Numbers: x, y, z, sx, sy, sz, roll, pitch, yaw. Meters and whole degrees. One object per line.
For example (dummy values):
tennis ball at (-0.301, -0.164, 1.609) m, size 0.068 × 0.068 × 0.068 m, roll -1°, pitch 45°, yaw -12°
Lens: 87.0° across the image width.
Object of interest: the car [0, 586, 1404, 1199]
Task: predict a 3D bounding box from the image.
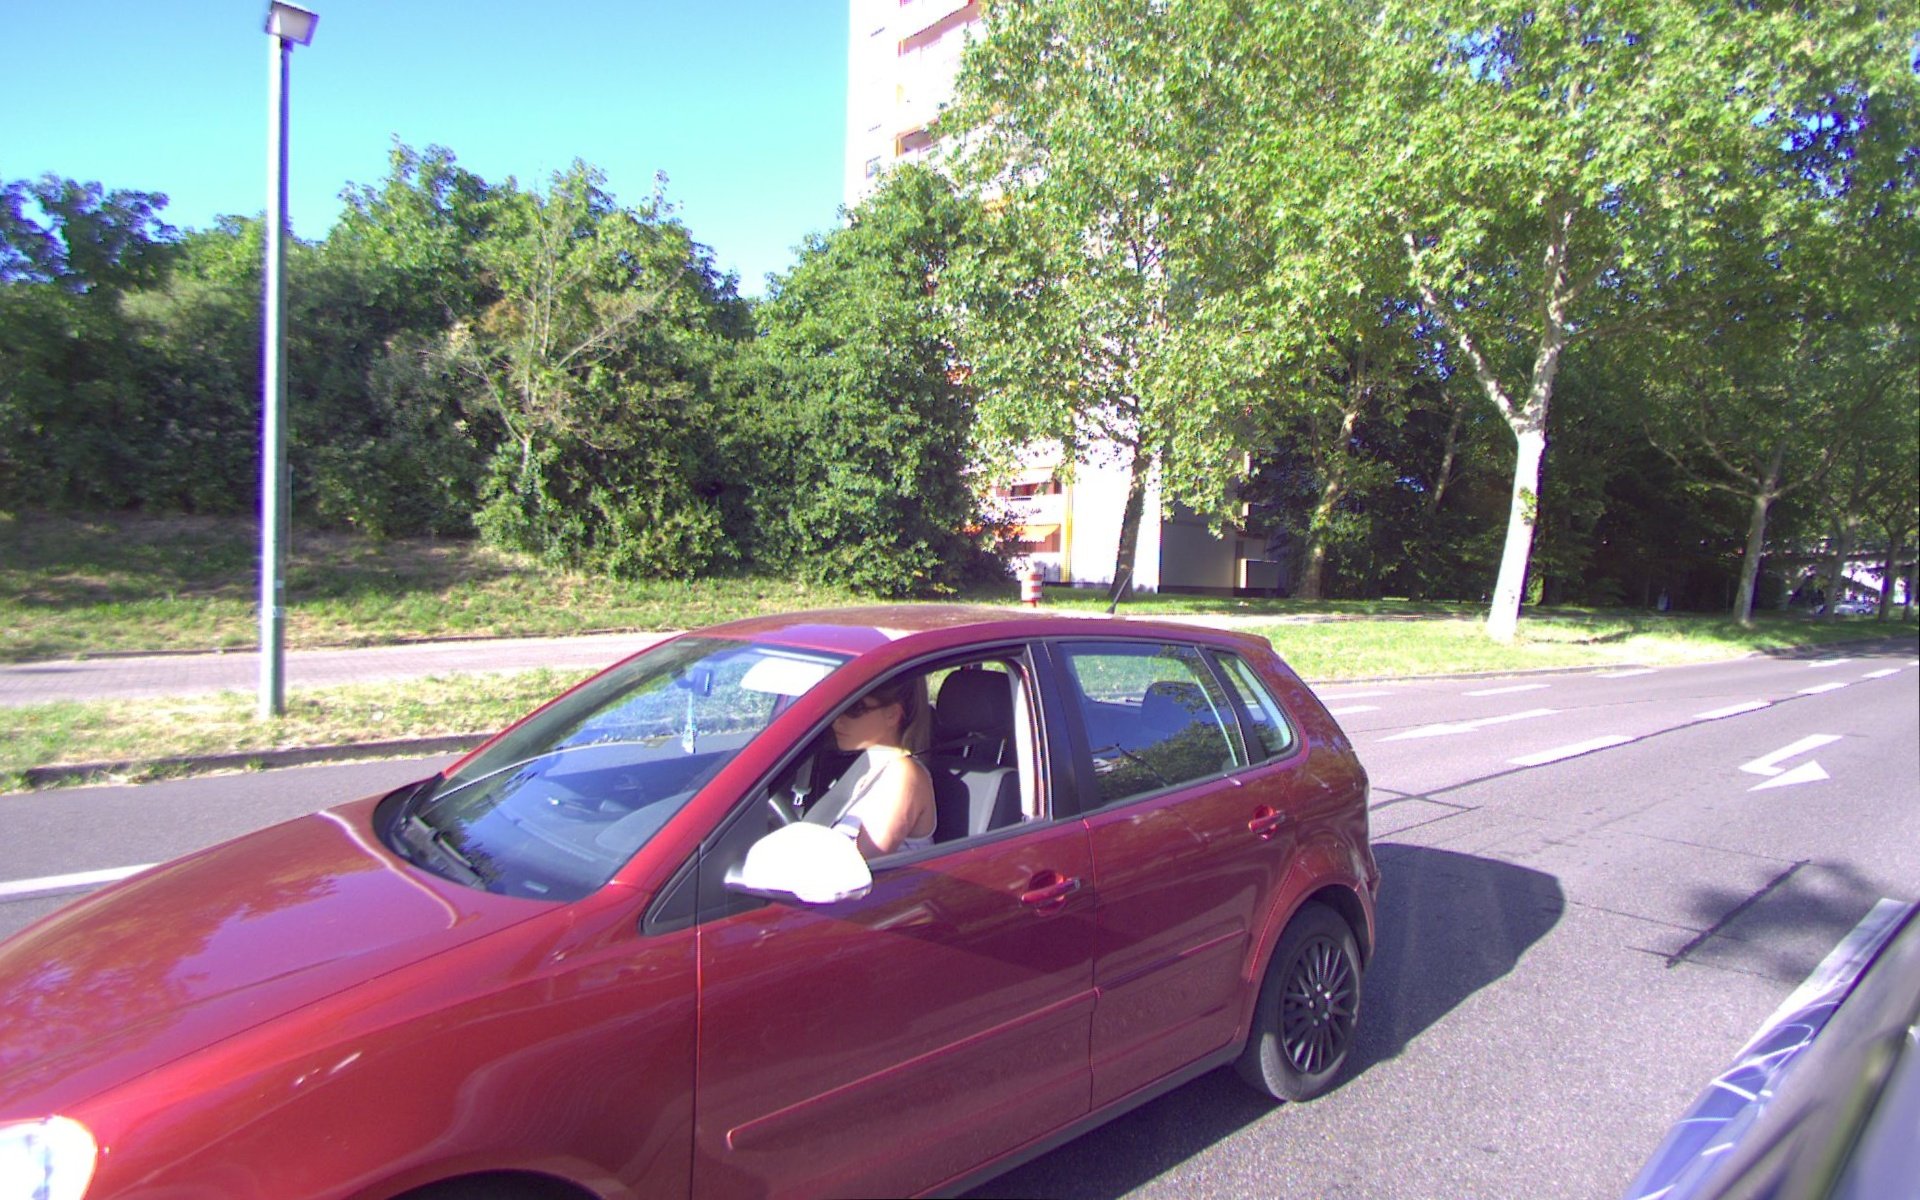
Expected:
car at (-0.440, 0.709, 2.733) m, size 3.624 × 1.479 × 1.579 m, roll -1°, pitch 0°, yaw -40°
